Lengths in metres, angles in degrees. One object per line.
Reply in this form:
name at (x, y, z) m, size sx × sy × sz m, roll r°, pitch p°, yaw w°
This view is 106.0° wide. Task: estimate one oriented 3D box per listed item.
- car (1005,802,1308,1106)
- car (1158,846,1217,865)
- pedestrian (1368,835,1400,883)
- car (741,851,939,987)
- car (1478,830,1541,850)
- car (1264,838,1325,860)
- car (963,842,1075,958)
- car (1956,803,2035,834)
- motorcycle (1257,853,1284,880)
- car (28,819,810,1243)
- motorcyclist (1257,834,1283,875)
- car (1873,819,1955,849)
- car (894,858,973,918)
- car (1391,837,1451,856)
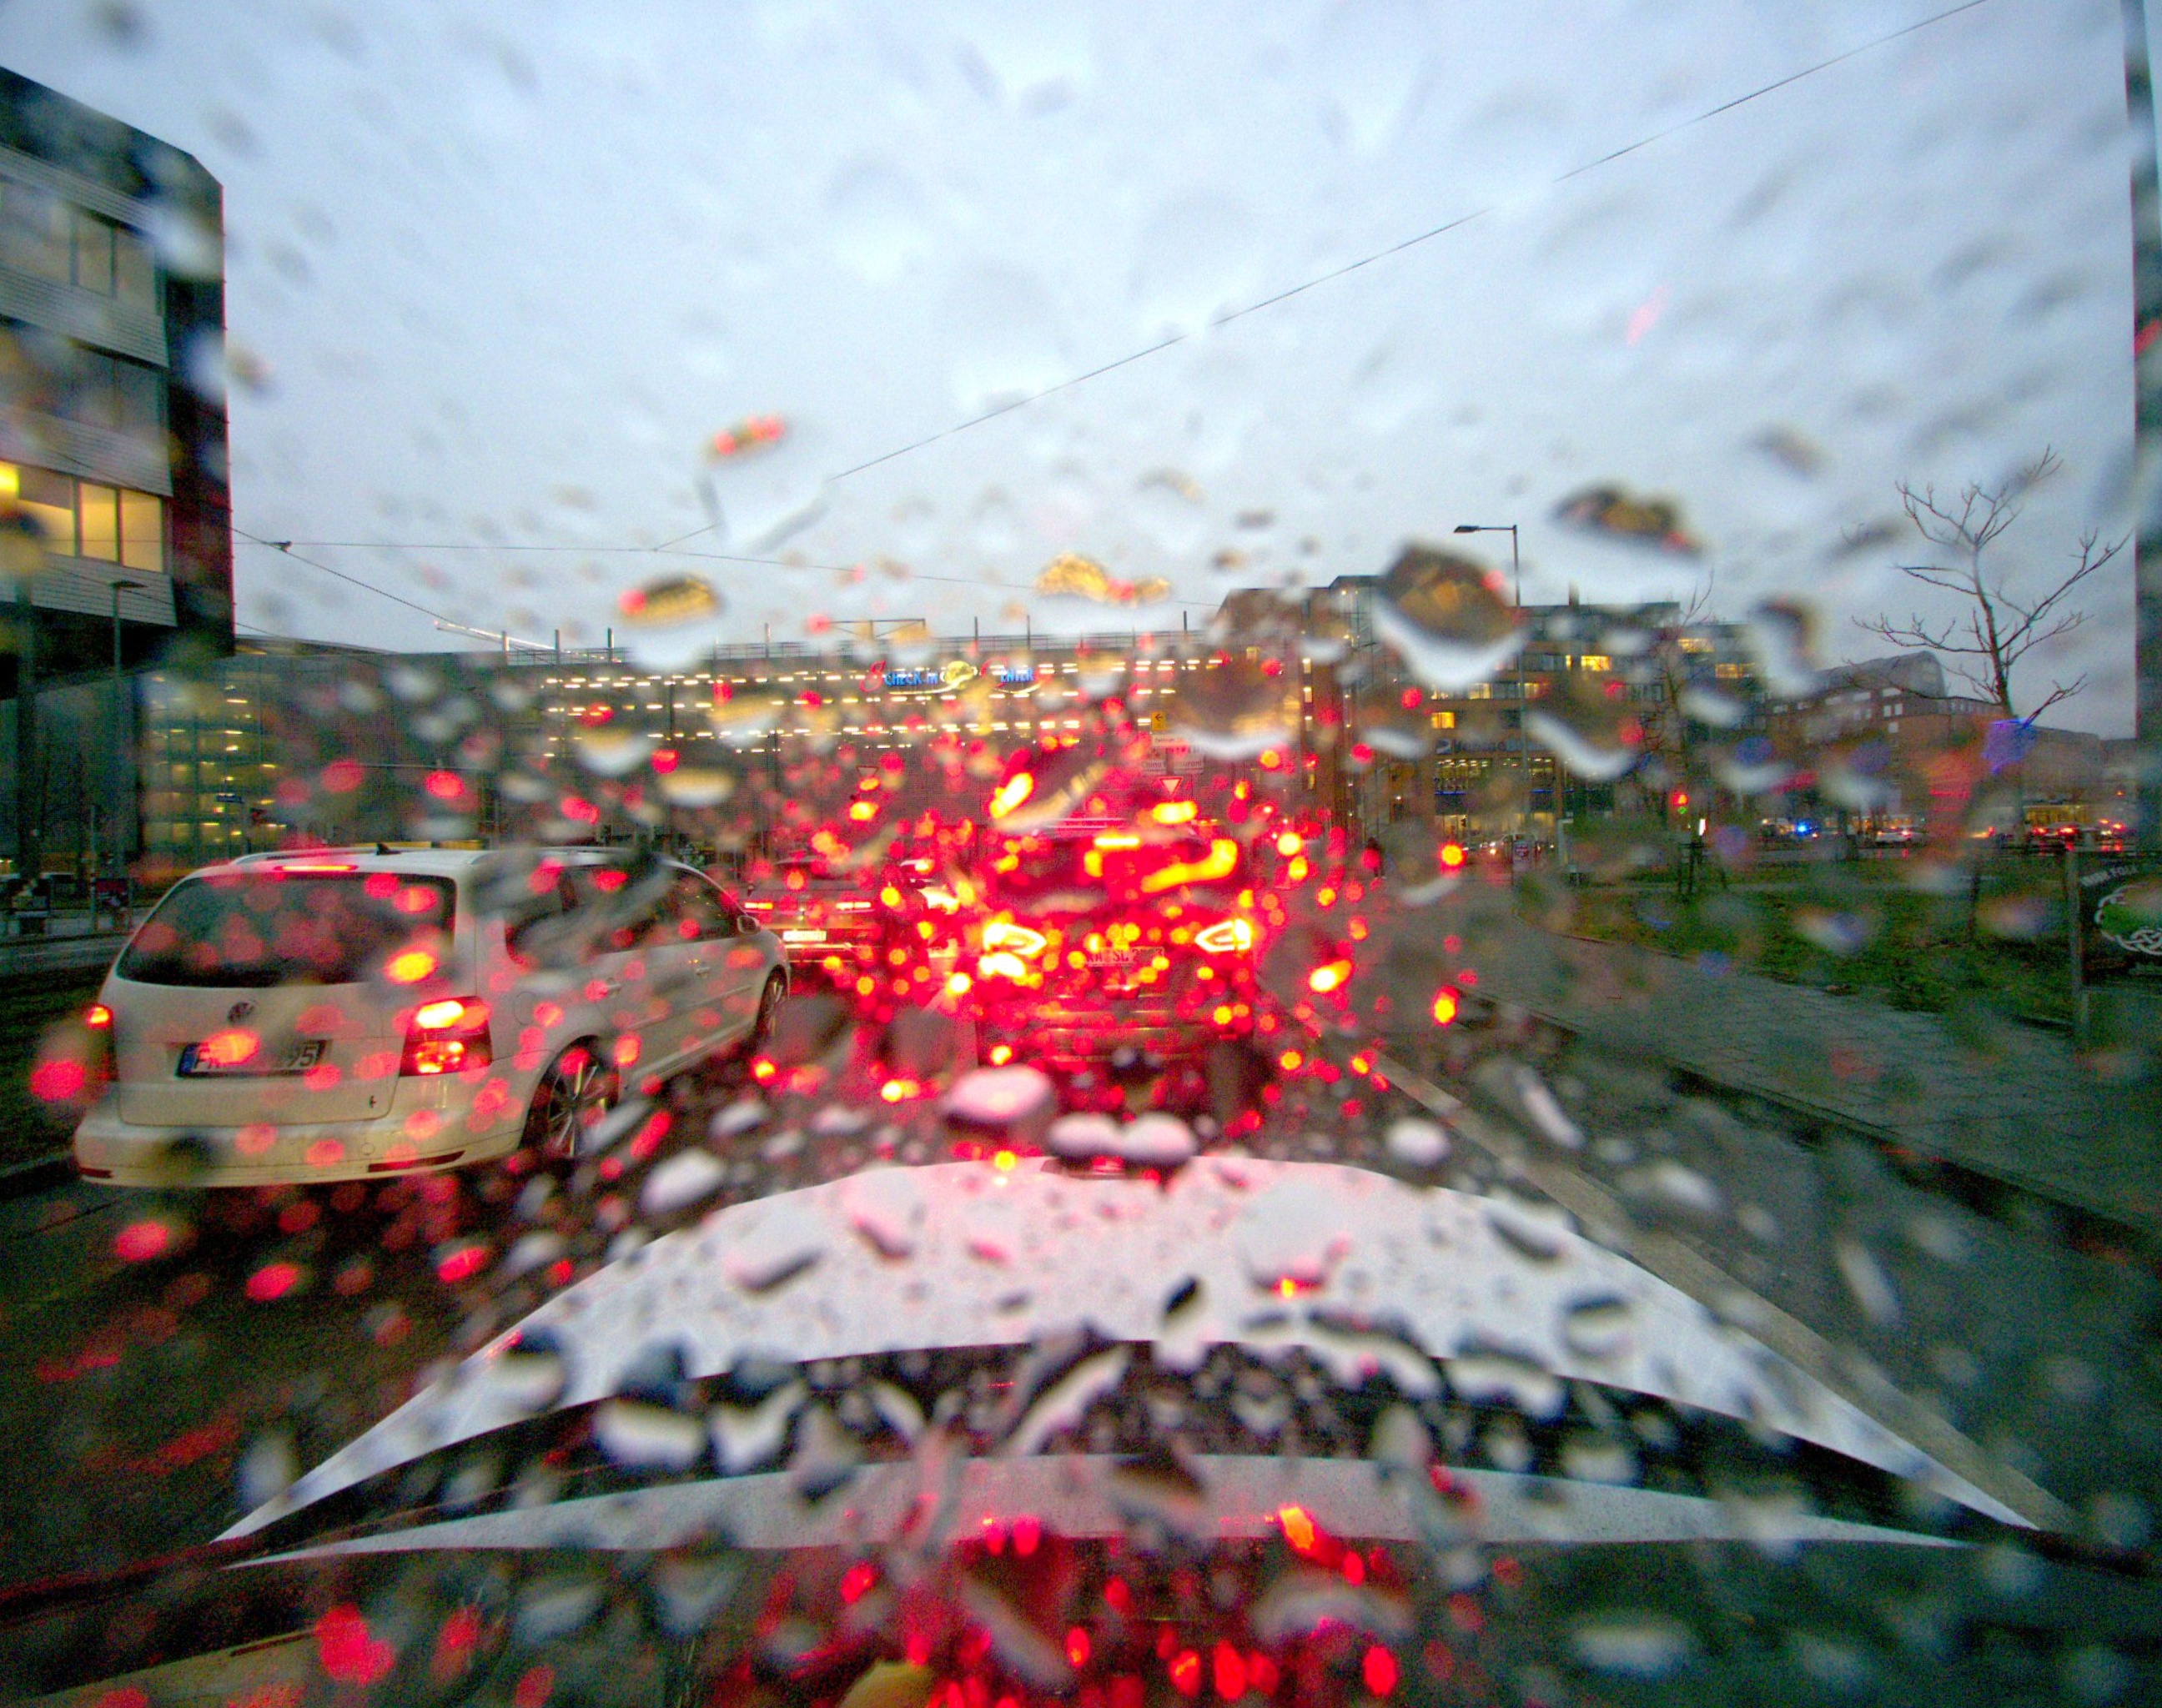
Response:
car at (0.426, 0.568, 6.810) m, size 1.730 × 1.738 × 4.246 m, roll 1°, pitch 0°, yaw 0°
car at (8.525, 0.132, 65.195) m, size 4.413 × 1.390 × 1.796 m, roll -2°, pitch 0°, yaw -6°
pedestrian at (12.244, 0.197, 32.900) m, size 1.159 × 1.924 × 0.904 m, roll 1°, pitch 0°, yaw 25°
car at (-3.233, 0.775, 11.764) m, size 1.748 × 1.574 × 3.997 m, roll -2°, pitch 0°, yaw -2°
car at (36.140, -1.185, 68.671) m, size 4.425 × 1.534 × 1.796 m, roll -2°, pitch 0°, yaw -6°
car at (17.301, -0.386, 65.969) m, size 4.413 × 1.595 × 1.796 m, roll -2°, pitch 0°, yaw -6°
car at (-0.996, 0.687, 13.891) m, size 1.632 × 1.697 × 3.667 m, roll -1°, pitch 0°, yaw -3°
car at (64.318, -2.450, 57.309) m, size 4.948 × 2.013 × 1.987 m, roll 0°, pitch 0°, yaw -20°
motorcycle at (7.341, 0.481, 31.617) m, size 0.848 × 0.972 × 1.585 m, roll -2°, pitch 0°, yaw 7°
car at (-3.285, 0.680, 5.273) m, size 1.665 × 1.660 × 4.147 m, roll 1°, pitch 0°, yaw 0°
motorcyclist at (7.333, 0.011, 31.633) m, size 0.863 × 1.534 × 1.110 m, roll -2°, pitch 0°, yaw 7°
car at (56.744, -1.347, 55.487) m, size 3.985 × 2.013 × 1.994 m, roll 0°, pitch 0°, yaw -9°
car at (-3.480, 0.744, 19.760) m, size 1.538 × 1.251 × 4.059 m, roll -1°, pitch 0°, yaw -6°
car at (28.216, -0.604, 67.623) m, size 4.209 × 1.390 × 1.796 m, roll -2°, pitch 0°, yaw -6°
